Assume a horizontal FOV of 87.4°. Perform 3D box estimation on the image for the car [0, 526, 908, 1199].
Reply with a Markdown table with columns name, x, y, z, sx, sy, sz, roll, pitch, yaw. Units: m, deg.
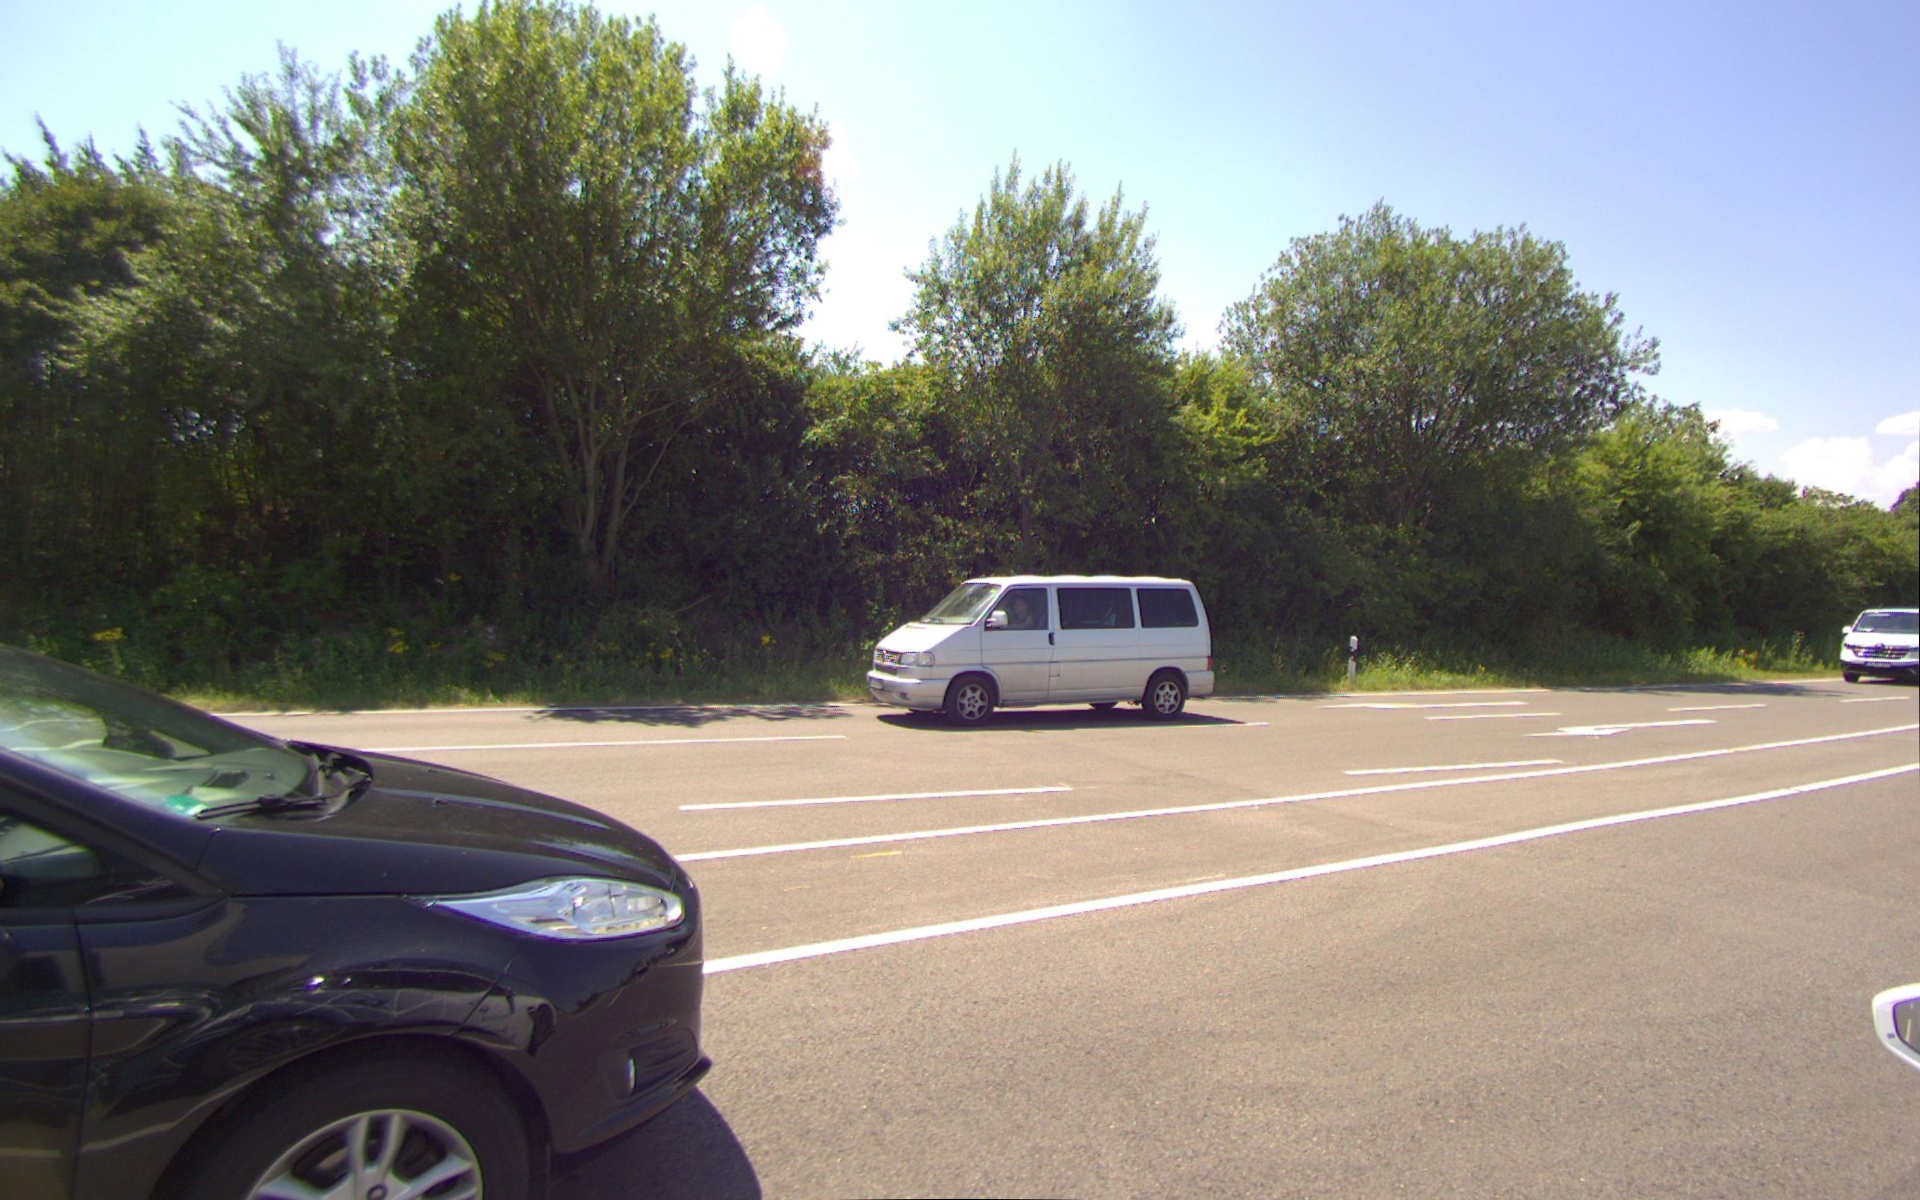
| name | x | y | z | sx | sy | sz | roll | pitch | yaw |
| --- | --- | --- | --- | --- | --- | --- | --- | --- | --- |
| car | -2.323 | 0.628 | 1.937 | 4.157 | 1.514 | 1.645 | 0 | 1 | -30 |

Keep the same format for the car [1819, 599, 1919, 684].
| name | x | y | z | sx | sy | sz | roll | pitch | yaw |
| --- | --- | --- | --- | --- | --- | --- | --- | --- | --- |
| car | 25.454 | 1.061 | 26.989 | 5.745 | 2.041 | 2.064 | 1 | 1 | -33 |

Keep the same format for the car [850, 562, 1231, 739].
| name | x | y | z | sx | sy | sz | roll | pitch | yaw |
| --- | --- | --- | --- | --- | --- | --- | --- | --- | --- |
| car | 1.088 | 0.558 | 13.634 | 4.771 | 2.041 | 1.969 | 0 | 3 | -23 |
